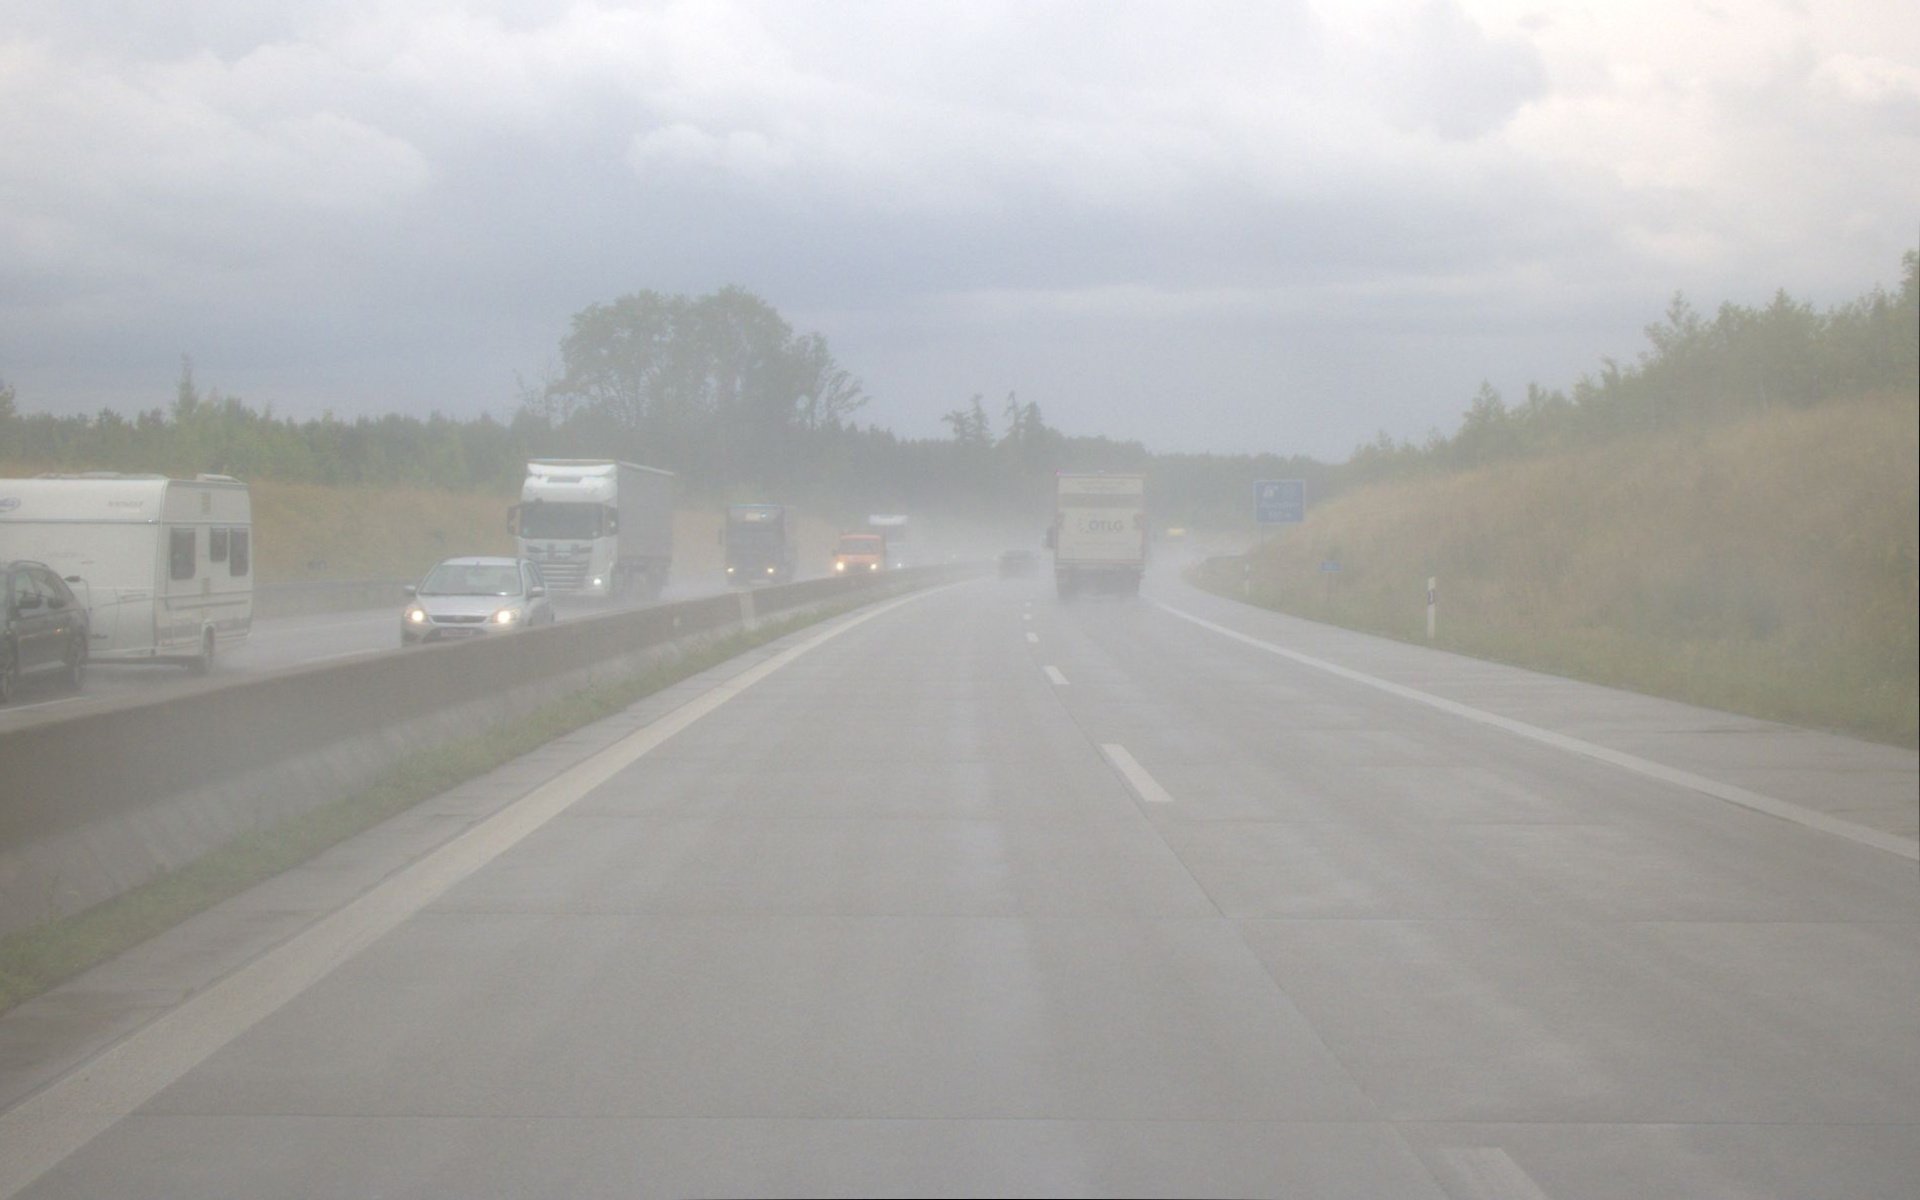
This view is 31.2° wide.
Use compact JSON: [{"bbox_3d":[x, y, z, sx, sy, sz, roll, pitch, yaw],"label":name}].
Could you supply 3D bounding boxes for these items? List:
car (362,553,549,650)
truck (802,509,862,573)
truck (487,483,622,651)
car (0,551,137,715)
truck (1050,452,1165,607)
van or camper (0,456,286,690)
[{"bbox_3d":[-7.143,-0.006,49.114,1.993,1.306,4.511,0,1,0],"label":"car"},{"bbox_3d":[-5.638,-2.621,152.399,2.332,2.772,6.161,0,1,1],"label":"truck"},{"bbox_3d":[-11.265,-0.943,96.122,2.821,4.505,6.625,1,1,1],"label":"truck"},{"bbox_3d":[-10.671,0.286,37.103,2.286,1.552,5.182,2,1,0],"label":"car"},{"bbox_3d":[4.439,-2.134,102.036,3.244,4.421,8.245,0,2,3],"label":"truck"},{"bbox_3d":[-10.595,-0.473,43.668,2.444,2.586,7.929,2,3,0],"label":"van or camper"}]
